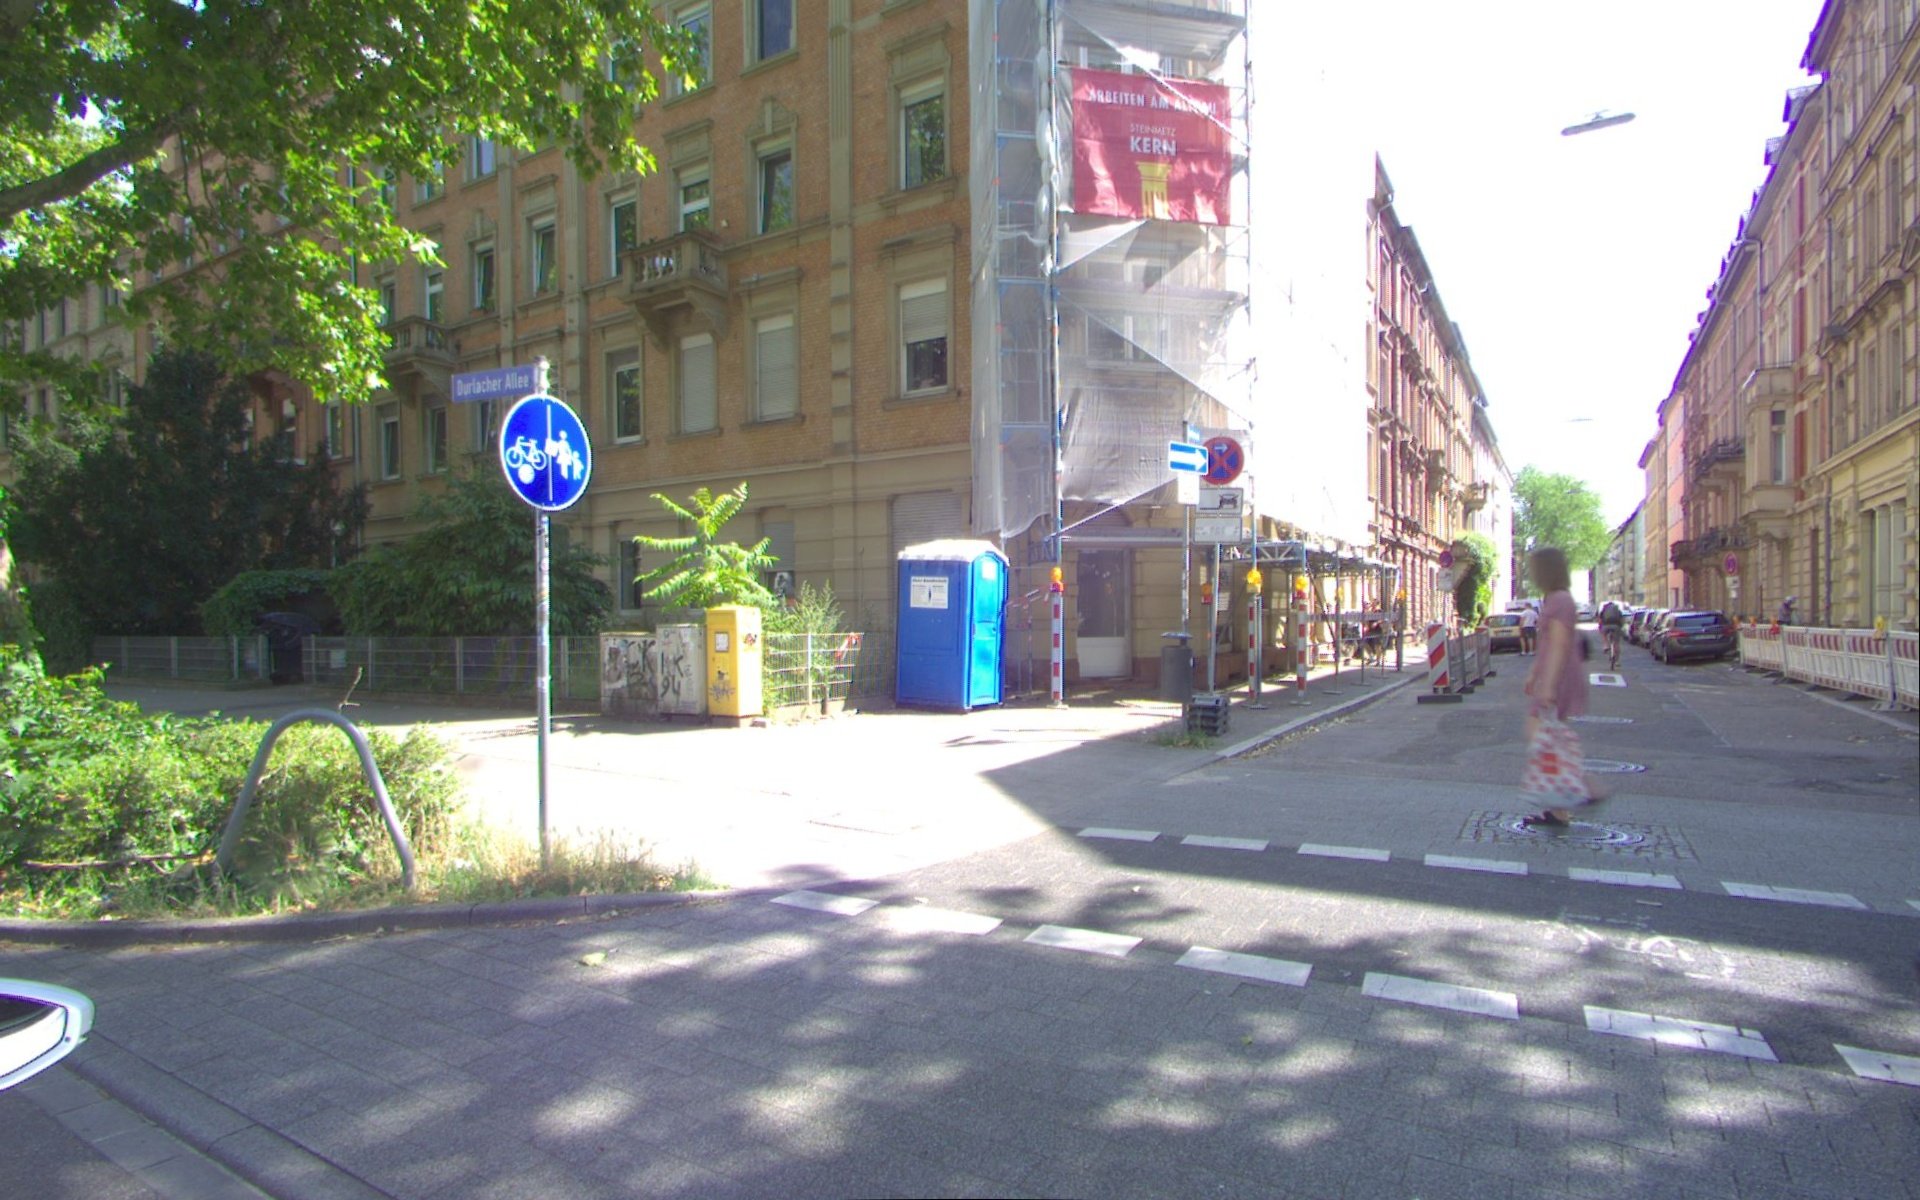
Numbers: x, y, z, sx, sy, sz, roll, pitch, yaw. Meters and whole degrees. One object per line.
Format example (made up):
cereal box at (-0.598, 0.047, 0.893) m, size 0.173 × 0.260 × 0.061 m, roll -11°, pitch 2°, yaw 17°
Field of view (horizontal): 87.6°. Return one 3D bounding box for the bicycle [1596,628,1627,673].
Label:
bicycle at (16.459, 1.249, 25.325) m, size 0.525 × 1.062 × 1.917 m, roll 0°, pitch -1°, yaw 29°

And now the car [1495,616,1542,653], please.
car at (24.220, 1.467, 43.398) m, size 1.702 × 1.549 × 3.479 m, roll -1°, pitch -1°, yaw 30°

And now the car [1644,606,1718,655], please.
car at (27.332, 1.126, 38.096) m, size 1.971 × 1.761 × 3.980 m, roll -1°, pitch -1°, yaw 31°

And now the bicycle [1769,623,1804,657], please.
bicycle at (24.463, 1.170, 29.646) m, size 0.530 × 0.991 × 1.304 m, roll 0°, pitch -1°, yaw 28°

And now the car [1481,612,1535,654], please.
car at (21.193, 1.231, 38.671) m, size 1.702 × 1.549 × 3.479 m, roll -1°, pitch -1°, yaw 31°

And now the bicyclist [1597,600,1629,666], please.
bicyclist at (16.420, 0.824, 25.204) m, size 0.615 × 1.644 × 0.692 m, roll 0°, pitch 0°, yaw 29°

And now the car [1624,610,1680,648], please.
car at (33.395, 1.356, 48.433) m, size 1.971 × 1.761 × 3.980 m, roll -1°, pitch -1°, yaw 31°

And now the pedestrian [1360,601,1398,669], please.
pedestrian at (11.017, 0.925, 26.365) m, size 0.843 × 1.748 × 0.834 m, roll -1°, pitch 0°, yaw 19°

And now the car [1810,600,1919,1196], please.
car at (3.667, 0.680, 0.913) m, size 1.854 × 1.428 × 4.087 m, roll 0°, pitch -1°, yaw -16°

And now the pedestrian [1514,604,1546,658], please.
pedestrian at (19.780, 1.076, 34.750) m, size 0.922 × 1.822 × 1.034 m, roll -1°, pitch 0°, yaw 29°

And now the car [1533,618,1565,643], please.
car at (43.994, 2.258, 74.733) m, size 1.887 × 1.732 × 4.139 m, roll -1°, pitch -1°, yaw 33°

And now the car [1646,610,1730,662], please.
car at (24.661, 1.172, 34.061) m, size 1.971 × 1.661 × 3.980 m, roll -1°, pitch -1°, yaw 31°

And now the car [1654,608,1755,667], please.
car at (21.327, 1.040, 28.842) m, size 1.971 × 1.572 × 3.980 m, roll -1°, pitch -1°, yaw 31°

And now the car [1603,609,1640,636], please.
car at (44.671, 1.500, 67.677) m, size 1.971 × 1.761 × 3.980 m, roll -1°, pitch -1°, yaw 31°

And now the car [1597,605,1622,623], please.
car at (65.047, 1.359, 100.375) m, size 1.971 × 1.761 × 3.980 m, roll -1°, pitch -1°, yaw 31°

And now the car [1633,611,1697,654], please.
car at (30.115, 1.349, 42.886) m, size 1.971 × 1.761 × 3.980 m, roll -1°, pitch -1°, yaw 31°

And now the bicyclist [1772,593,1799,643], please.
bicyclist at (24.491, 0.528, 29.704) m, size 0.525 × 1.472 × 0.459 m, roll 0°, pitch 0°, yaw 29°

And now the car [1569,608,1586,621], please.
car at (84.985, 2.035, 137.782) m, size 1.971 × 1.761 × 3.980 m, roll -1°, pitch -1°, yaw 31°

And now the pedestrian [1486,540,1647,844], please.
pedestrian at (3.914, 0.557, 6.491) m, size 0.840 × 1.808 × 0.734 m, roll 0°, pitch 0°, yaw 32°

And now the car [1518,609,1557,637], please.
car at (35.989, 1.416, 62.351) m, size 1.887 × 1.732 × 4.139 m, roll -1°, pitch -1°, yaw 33°

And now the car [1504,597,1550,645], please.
car at (29.975, 1.107, 52.878) m, size 1.887 × 2.404 × 4.224 m, roll -1°, pitch -1°, yaw 33°
